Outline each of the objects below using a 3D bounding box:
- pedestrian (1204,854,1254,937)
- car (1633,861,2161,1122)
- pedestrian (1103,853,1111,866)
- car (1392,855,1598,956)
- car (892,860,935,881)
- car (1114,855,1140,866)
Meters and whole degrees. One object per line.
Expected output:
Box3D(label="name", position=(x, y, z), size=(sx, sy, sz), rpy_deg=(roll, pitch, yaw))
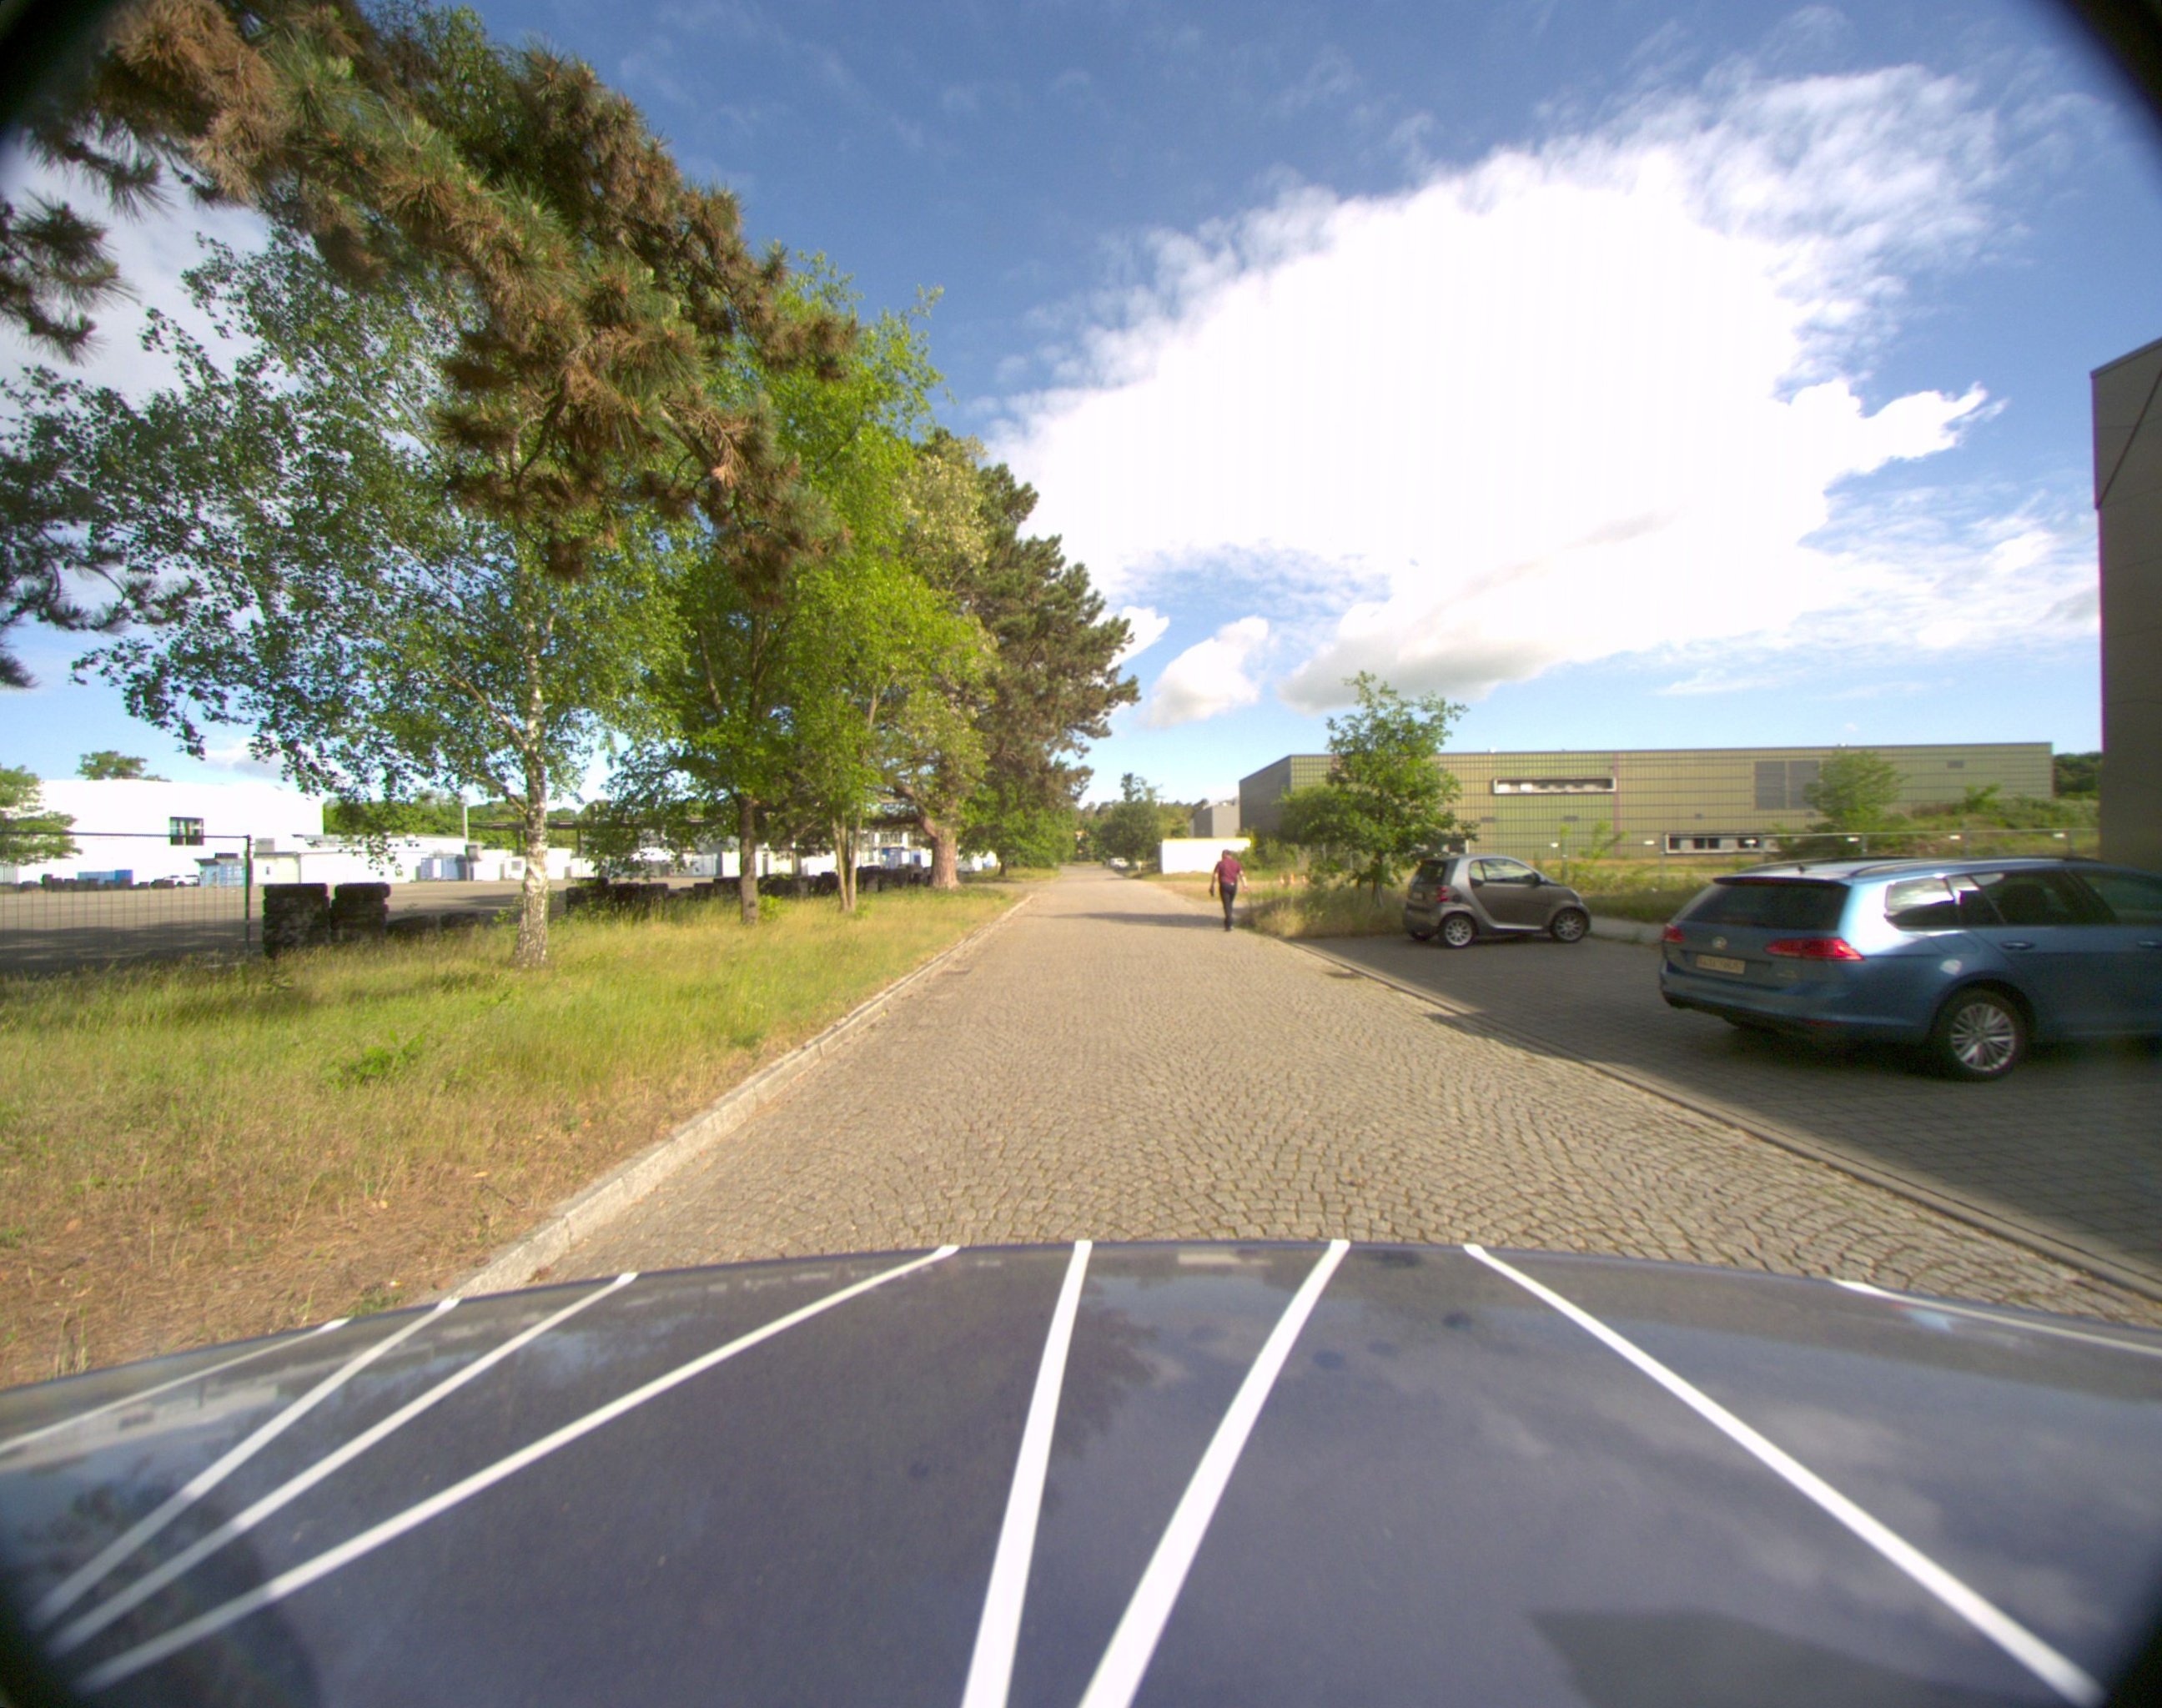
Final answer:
Box3D(label="pedestrian", position=(3.261, 0.881, 16.842), size=(0.806, 1.761, 1.152), rpy_deg=(-1, 0, -4))
Box3D(label="car", position=(6.935, 0.888, 5.768), size=(4.268, 1.455, 1.680), rpy_deg=(-3, 0, -2))
Box3D(label="pedestrian", position=(3.625, 0.726, 106.000), size=(0.908, 1.796, 0.983), rpy_deg=(-1, 0, -7))
Box3D(label="car", position=(7.097, 0.846, 13.209), size=(2.705, 1.533, 1.518), rpy_deg=(-3, 0, 0))
Box3D(label="car", position=(-12.045, 1.172, 54.863), size=(1.846, 1.440, 4.002), rpy_deg=(-1, 0, 6))
Box3D(label="car", position=(7.284, 1.022, 120.508), size=(3.996, 1.678, 2.000), rpy_deg=(-1, 0, 3))
